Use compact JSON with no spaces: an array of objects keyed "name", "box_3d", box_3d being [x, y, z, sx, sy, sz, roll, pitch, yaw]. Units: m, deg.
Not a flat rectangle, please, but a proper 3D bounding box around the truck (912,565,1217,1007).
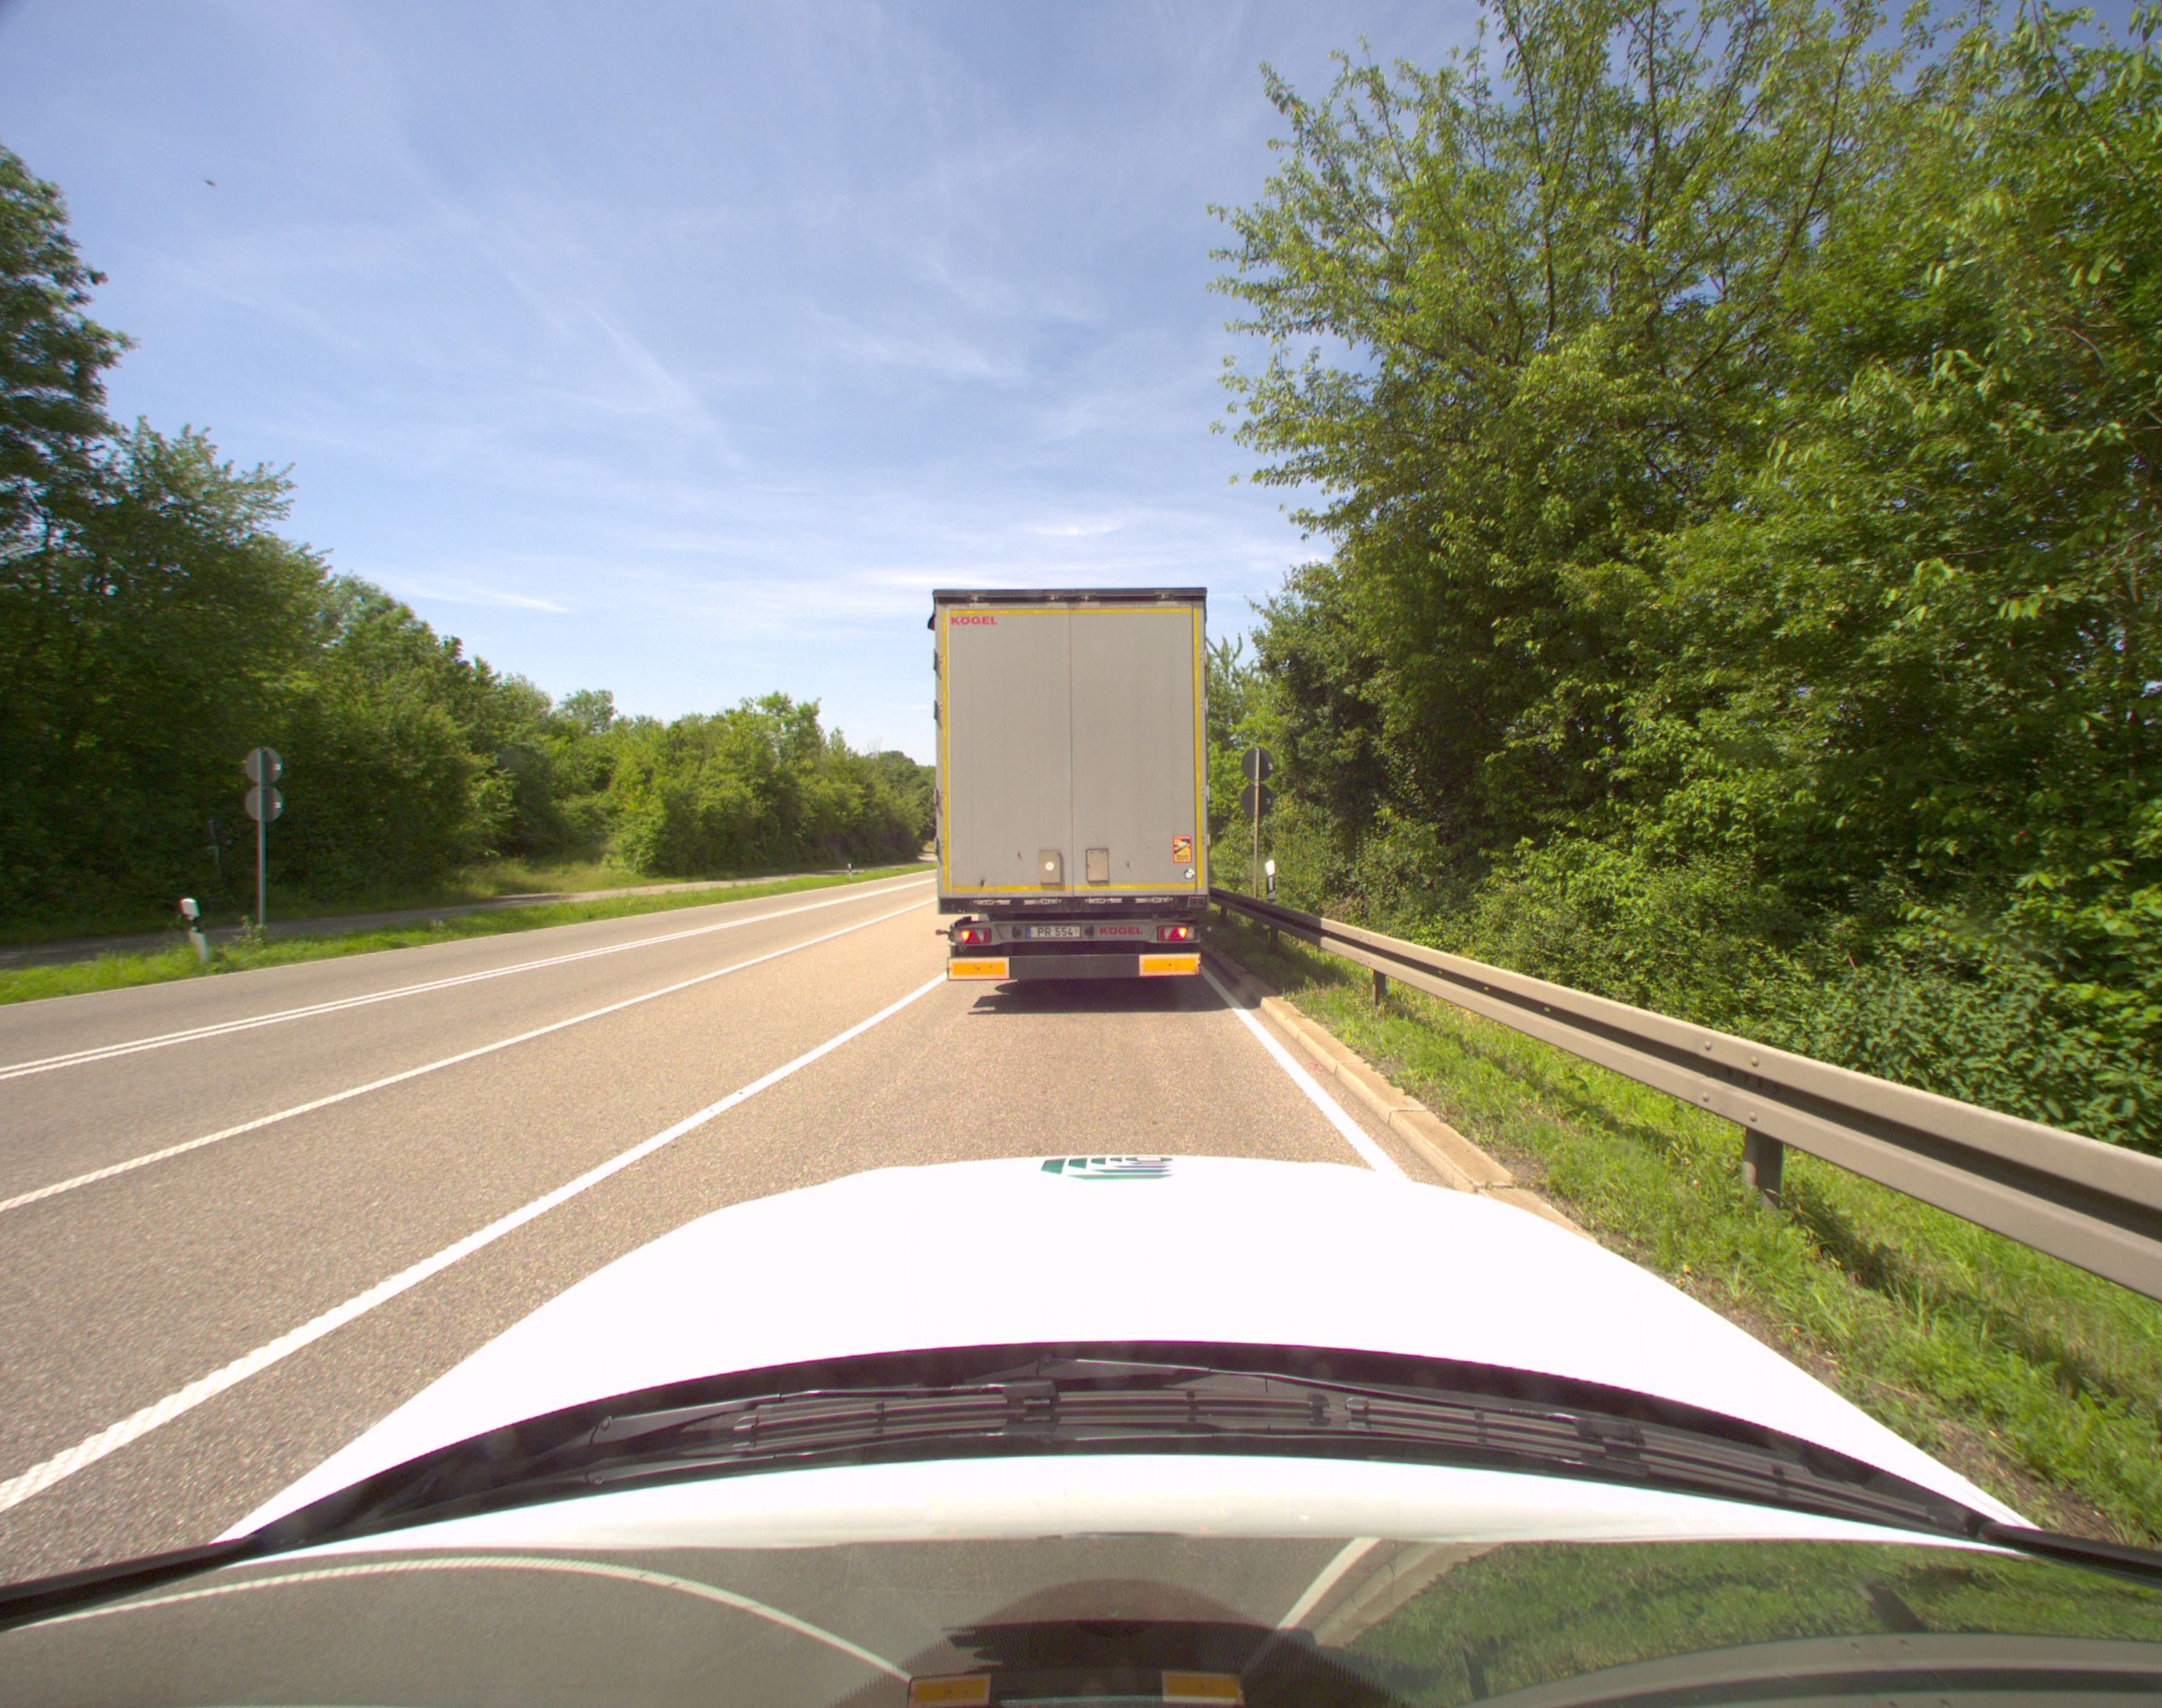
[{"name":"truck","box_3d":[-0.034,-0.643,13.429,2.747,4.029,11.926,-1,0,1]}]
